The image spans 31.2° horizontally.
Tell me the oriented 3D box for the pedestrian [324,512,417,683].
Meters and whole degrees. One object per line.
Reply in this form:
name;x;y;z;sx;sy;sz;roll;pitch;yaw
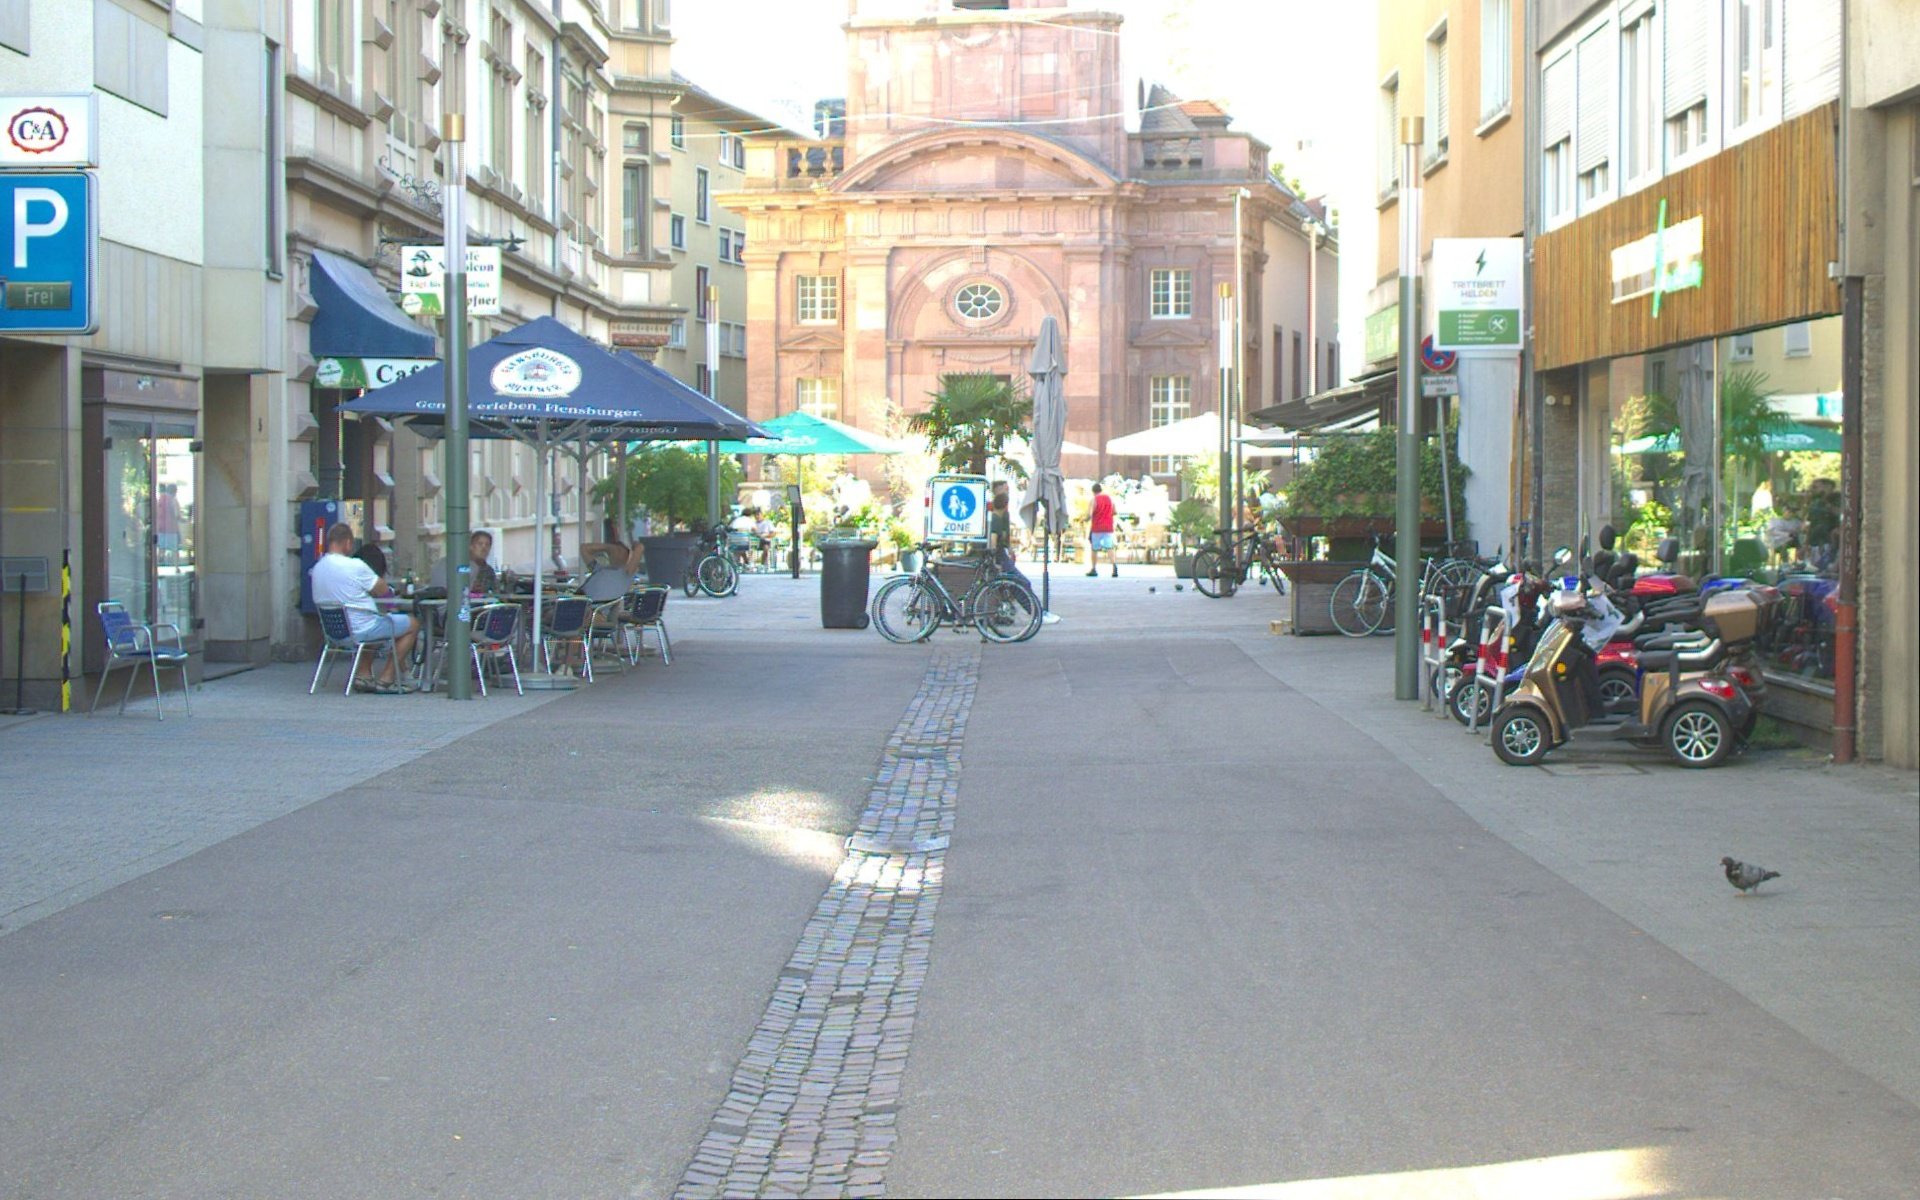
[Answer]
pedestrian;-4.775;-0.029;27.818;0.717;1.363;0.710;0;2;-11

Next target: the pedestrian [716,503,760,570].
pedestrian;-4.101;-1.177;63.531;0.700;1.213;0.719;0;2;7

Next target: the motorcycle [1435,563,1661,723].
motorcycle;4.041;0.288;23.640;1.485;1.072;0.412;0;1;19

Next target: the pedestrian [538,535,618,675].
pedestrian;-3.373;0.036;30.300;0.692;1.211;0.583;0;2;-7

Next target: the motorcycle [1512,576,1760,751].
motorcycle;4.246;0.389;21.603;1.485;1.072;0.412;0;1;19

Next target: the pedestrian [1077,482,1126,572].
pedestrian;2.594;-1.350;63.065;0.611;1.635;0.657;-1;2;-41

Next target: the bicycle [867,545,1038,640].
bicycle;-0.083;-0.083;36.989;1.823;1.001;0.381;0;2;-2

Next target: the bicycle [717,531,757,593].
bicycle;-3.196;-0.559;49.409;0.456;0.847;2.147;0;2;-1

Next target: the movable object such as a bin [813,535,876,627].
movable object such as a bin;-1.353;-0.225;40.281;0.721;1.071;0.374;0;2;0

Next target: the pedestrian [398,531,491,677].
pedestrian;-4.442;0.027;29.664;0.765;1.229;0.831;0;2;-7

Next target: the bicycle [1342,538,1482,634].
bicycle;4.798;-0.153;36.496;1.464;1.001;0.573;0;2;8

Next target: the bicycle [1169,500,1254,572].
bicycle;4.588;-1.165;62.693;1.586;1.303;0.366;-1;2;-28

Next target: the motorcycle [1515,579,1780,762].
motorcycle;4.126;0.412;20.641;1.518;1.072;0.412;0;1;19

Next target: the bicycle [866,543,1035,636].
bicycle;-0.104;-0.117;37.393;1.823;1.001;0.381;0;2;-2

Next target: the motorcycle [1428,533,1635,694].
motorcycle;4.252;0.095;25.585;1.485;1.177;0.412;0;1;16

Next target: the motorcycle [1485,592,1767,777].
motorcycle;3.854;0.478;19.909;1.565;1.038;0.372;0;1;19

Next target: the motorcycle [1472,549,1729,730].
motorcycle;4.261;0.254;22.872;1.626;1.171;0.480;0;1;19

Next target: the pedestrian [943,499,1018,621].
pedestrian;0.252;-0.491;41.494;0.884;1.459;0.731;0;2;2

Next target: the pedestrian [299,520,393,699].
pedestrian;-4.773;0.061;26.701;0.708;1.363;0.720;0;2;-11

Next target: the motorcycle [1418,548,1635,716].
motorcycle;4.040;0.220;24.508;1.485;1.177;0.412;0;1;16
